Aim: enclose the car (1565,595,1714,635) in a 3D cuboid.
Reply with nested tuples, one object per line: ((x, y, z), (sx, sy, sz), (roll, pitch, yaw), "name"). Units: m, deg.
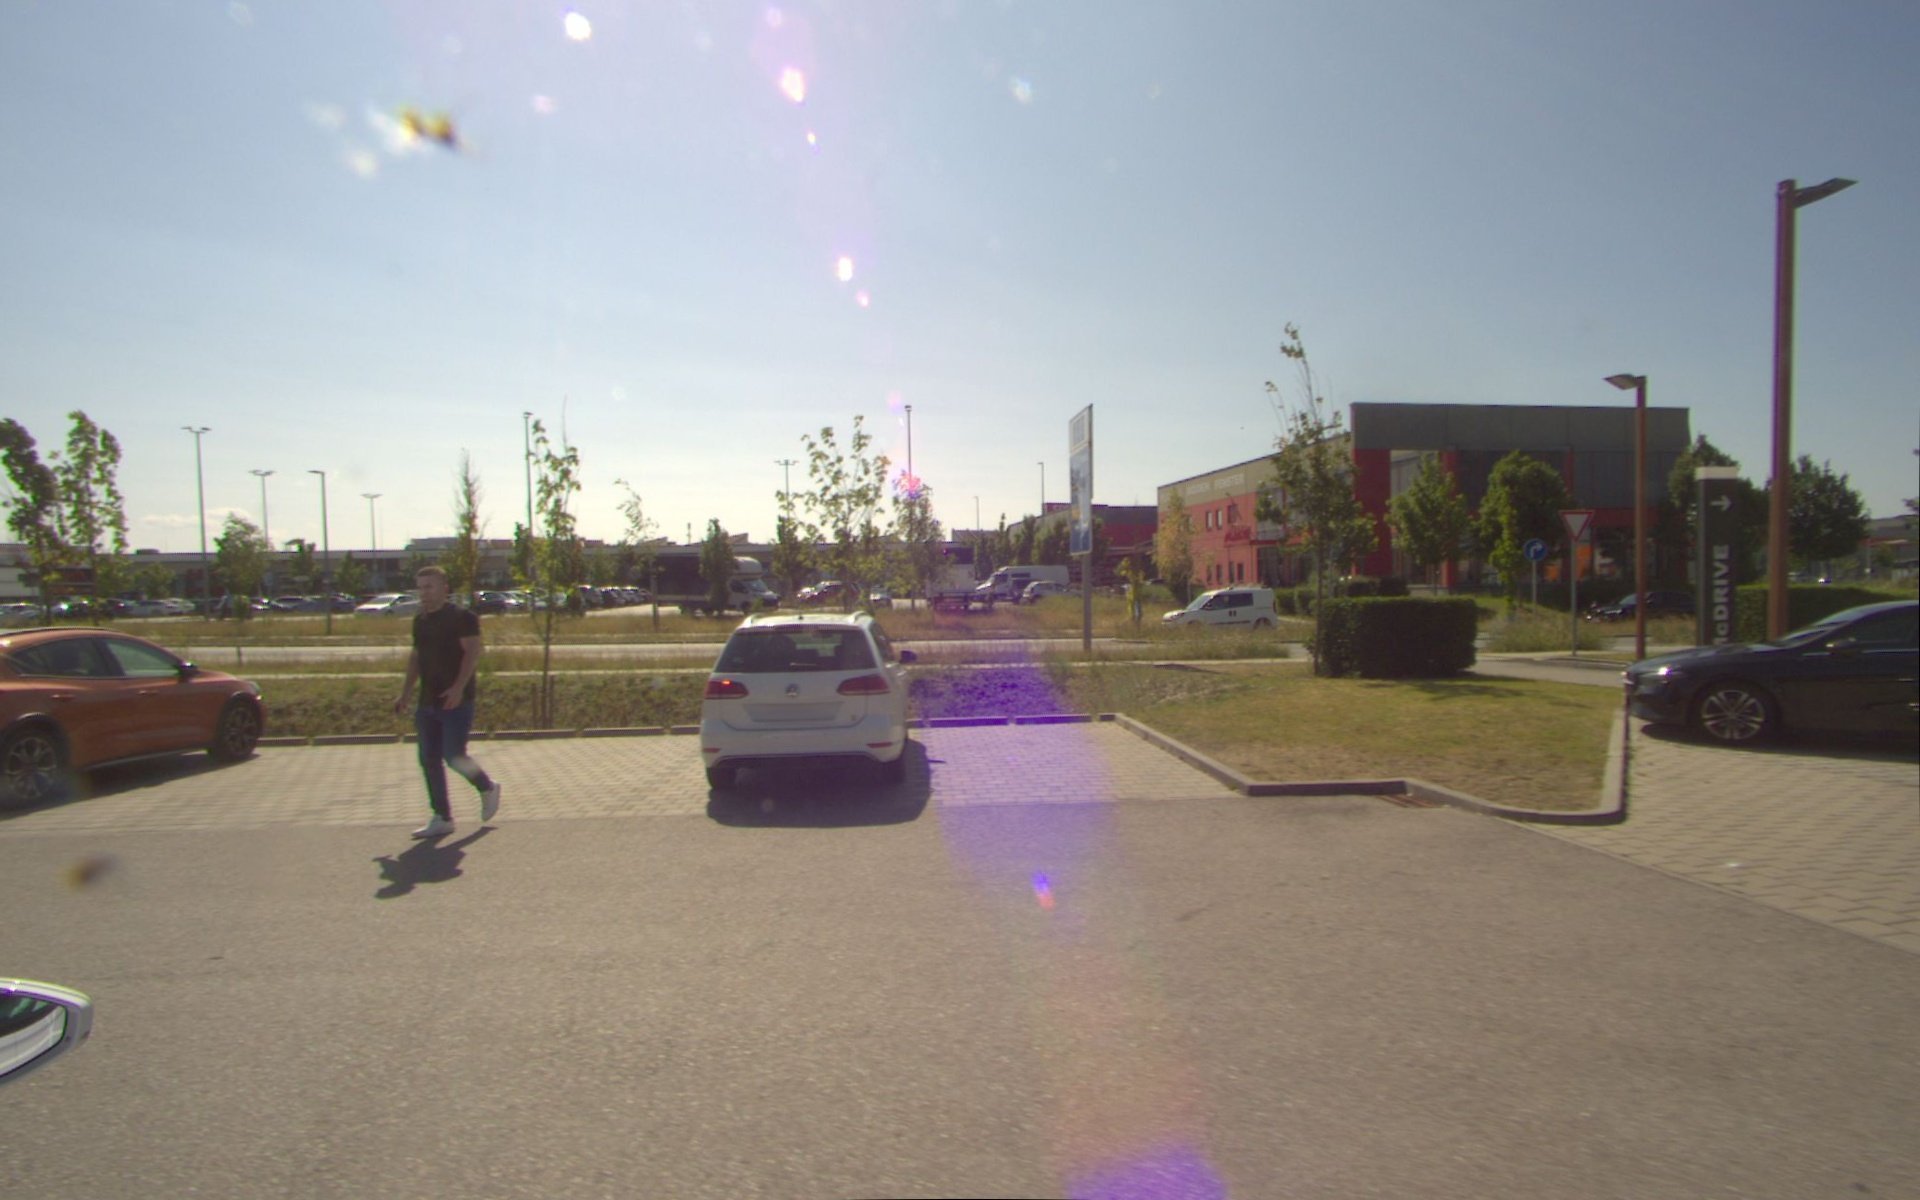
((28.166, 0.600, 41.635), (4.713, 1.646, 1.999), (0, 1, 5), "car")

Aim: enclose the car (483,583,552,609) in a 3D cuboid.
((-32.919, -0.276, 74.555), (4.322, 1.880, 1.953), (0, 1, -11), "car")

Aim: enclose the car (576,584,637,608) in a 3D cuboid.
((-28.283, -0.306, 80.252), (4.322, 1.880, 1.953), (0, 1, -11), "car")

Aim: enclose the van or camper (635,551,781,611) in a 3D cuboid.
((-13.878, -0.989, 54.975), (7.920, 3.143, 2.412), (0, 1, 23), "van or camper")

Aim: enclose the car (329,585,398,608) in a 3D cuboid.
((-49.060, -0.318, 82.420), (4.487, 1.880, 1.953), (0, 1, -11), "car")

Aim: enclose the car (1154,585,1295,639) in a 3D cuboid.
((9.982, 0.450, 37.973), (4.800, 1.980, 1.878), (0, 1, -4), "car")

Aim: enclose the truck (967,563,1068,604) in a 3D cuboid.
((4.054, -1.126, 71.115), (6.926, 2.852, 1.953), (0, 1, -11), "truck")

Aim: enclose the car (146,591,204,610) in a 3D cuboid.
((-66.693, 0.028, 85.113), (3.414, 1.573, 1.663), (0, 1, -16), "car")

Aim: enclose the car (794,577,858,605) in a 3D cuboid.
((-9.108, -0.620, 67.891), (4.187, 1.880, 1.868), (0, 1, -11), "car")

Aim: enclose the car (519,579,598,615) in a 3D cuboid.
((-22.113, -0.167, 55.371), (1.919, 1.880, 4.400), (0, 0, 13), "car")

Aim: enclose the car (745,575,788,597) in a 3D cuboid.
((-18.588, -1.316, 96.447), (3.924, 2.041, 1.999), (0, 1, -8), "car")

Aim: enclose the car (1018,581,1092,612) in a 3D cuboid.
((6.021, -0.217, 63.451), (4.322, 1.880, 1.953), (0, 1, -11), "car")

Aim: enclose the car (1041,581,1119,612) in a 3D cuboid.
((7.256, -0.204, 60.901), (4.322, 1.880, 1.953), (0, 1, -11), "car")

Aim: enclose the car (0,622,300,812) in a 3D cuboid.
((-8.647, 0.985, 9.661), (1.797, 1.488, 4.353), (-1, -1, -2), "car")

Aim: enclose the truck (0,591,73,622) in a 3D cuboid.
((-59.150, 0.380, 62.637), (1.962, 1.888, 5.430), (0, 0, 9), "truck")

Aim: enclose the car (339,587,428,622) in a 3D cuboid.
((-32.474, 0.235, 56.561), (1.962, 1.880, 4.282), (0, 0, 13), "car")

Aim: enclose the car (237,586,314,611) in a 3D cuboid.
((-57.215, -0.129, 83.830), (4.843, 2.041, 2.079), (0, 1, -15), "car")

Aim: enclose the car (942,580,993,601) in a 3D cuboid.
((0.674, -0.837, 90.347), (4.322, 1.880, 1.953), (0, 1, -11), "car")

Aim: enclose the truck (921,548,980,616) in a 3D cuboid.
((-0.618, -0.940, 55.563), (2.715, 3.527, 6.829), (0, 1, -5), "truck")

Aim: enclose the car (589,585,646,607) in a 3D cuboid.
((-29.413, -0.337, 86.105), (4.322, 1.880, 1.953), (0, 1, -11), "car")

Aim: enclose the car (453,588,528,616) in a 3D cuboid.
((-32.608, 0.137, 69.662), (4.322, 1.880, 1.953), (0, 1, -11), "car")

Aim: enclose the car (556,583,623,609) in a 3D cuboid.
((-27.020, -0.269, 73.115), (4.322, 1.880, 1.953), (0, 1, -11), "car")

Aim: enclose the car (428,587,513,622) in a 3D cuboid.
((-27.372, 0.237, 56.150), (1.919, 1.880, 4.400), (0, 0, 13), "car")

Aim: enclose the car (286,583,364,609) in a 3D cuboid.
((-47.377, -0.277, 74.756), (4.487, 1.880, 1.953), (0, 1, -11), "car")

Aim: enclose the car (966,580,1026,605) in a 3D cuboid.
((2.799, -0.586, 78.244), (4.322, 1.880, 1.953), (0, 1, -11), "car")

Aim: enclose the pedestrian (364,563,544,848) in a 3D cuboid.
((-3.548, 0.684, 7.029), (0.983, 1.833, 0.720), (-1, 0, -40), "pedestrian")

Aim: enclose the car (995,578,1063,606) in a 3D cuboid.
((4.704, -0.535, 68.443), (4.322, 1.880, 1.953), (0, 1, -11), "car")

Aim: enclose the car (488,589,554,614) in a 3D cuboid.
((-33.984, 0.082, 77.589), (4.322, 1.880, 1.953), (0, 1, -11), "car")

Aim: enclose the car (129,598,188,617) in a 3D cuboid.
((-65.927, 0.622, 82.424), (3.414, 1.573, 1.663), (0, 1, -16), "car")

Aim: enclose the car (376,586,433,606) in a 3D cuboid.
((-52.399, -0.382, 94.555), (4.322, 1.880, 1.953), (0, 1, -11), "car")

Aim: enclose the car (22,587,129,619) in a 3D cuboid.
((-54.237, 0.167, 61.514), (1.962, 1.871, 4.729), (0, 0, 10), "car")

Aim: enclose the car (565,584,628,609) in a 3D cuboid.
((-28.207, -0.294, 77.876), (4.322, 1.880, 1.953), (0, 1, -11), "car")

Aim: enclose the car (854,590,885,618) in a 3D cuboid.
((-5.022, 0.181, 55.333), (1.623, 1.479, 3.964), (0, 0, -6), "car")

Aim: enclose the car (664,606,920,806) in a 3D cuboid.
((-1.364, 0.835, 9.843), (1.797, 1.488, 4.482), (-1, -1, -1), "car")

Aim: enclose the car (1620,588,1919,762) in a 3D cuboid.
((9.056, 0.660, 9.828), (4.272, 1.547, 1.963), (0, 1, 34), "car")
